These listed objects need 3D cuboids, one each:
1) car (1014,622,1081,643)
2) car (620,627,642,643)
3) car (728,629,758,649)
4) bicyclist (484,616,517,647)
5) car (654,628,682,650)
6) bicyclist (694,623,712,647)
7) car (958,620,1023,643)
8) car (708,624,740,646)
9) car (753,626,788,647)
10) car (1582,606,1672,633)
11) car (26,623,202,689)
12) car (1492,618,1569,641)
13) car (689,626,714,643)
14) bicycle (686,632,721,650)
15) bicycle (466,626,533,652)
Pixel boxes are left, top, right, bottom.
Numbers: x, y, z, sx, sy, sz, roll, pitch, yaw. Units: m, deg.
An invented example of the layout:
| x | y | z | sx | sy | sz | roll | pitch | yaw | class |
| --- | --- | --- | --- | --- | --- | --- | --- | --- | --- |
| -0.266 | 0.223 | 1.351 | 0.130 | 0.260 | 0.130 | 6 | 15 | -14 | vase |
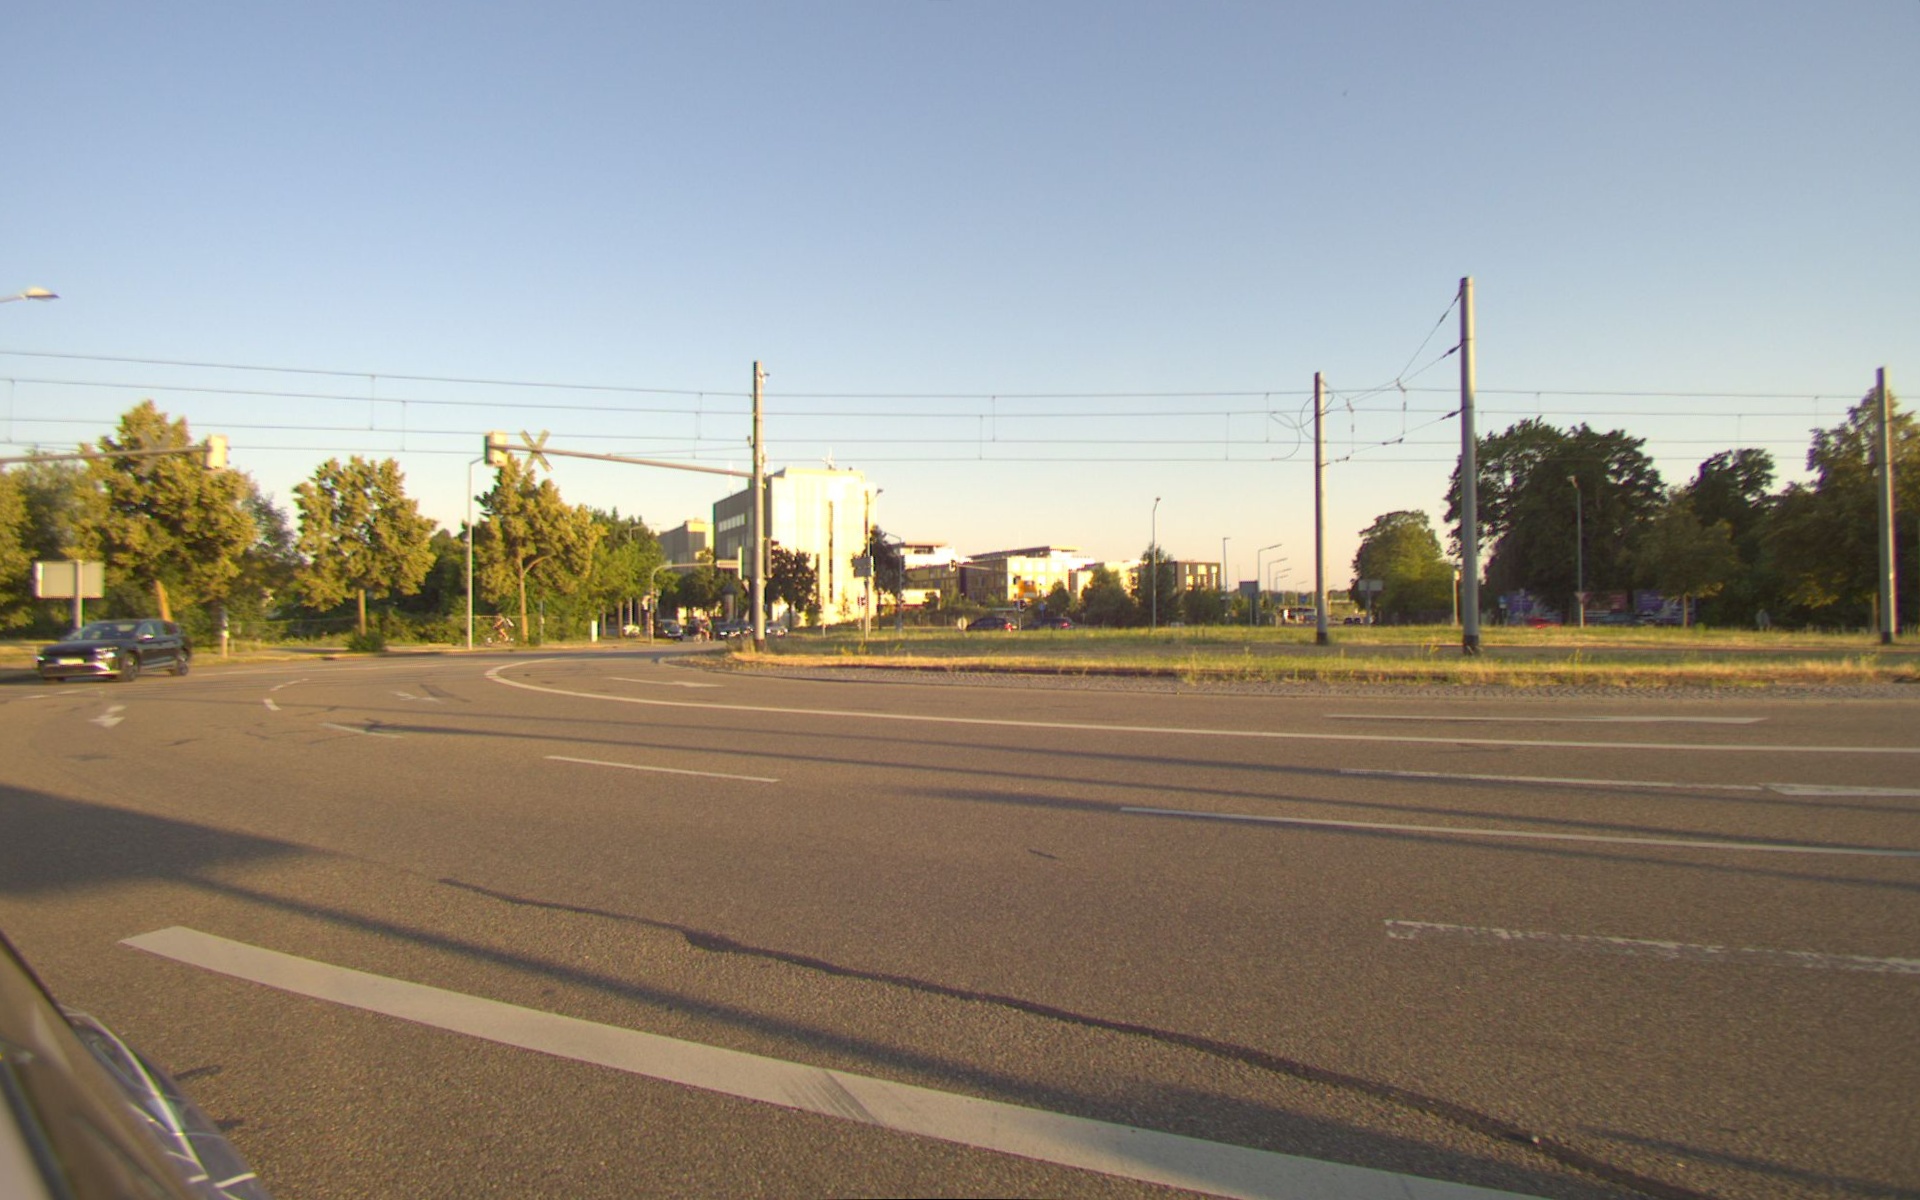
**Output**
| x | y | z | sx | sy | sz | roll | pitch | yaw | class |
| --- | --- | --- | --- | --- | --- | --- | --- | --- | --- |
| 6.261 | 2.365 | 72.506 | 4.391 | 1.443 | 1.922 | -2 | -2 | 34 | car |
| -34.869 | 3.677 | 107.178 | 1.841 | 1.637 | 4.206 | 0 | -1 | -22 | car |
| -19.003 | 3.367 | 88.530 | 1.841 | 1.637 | 4.206 | 0 | -1 | -22 | car |
| -27.120 | 1.852 | 59.746 | 1.123 | 1.762 | 1.398 | -2 | -2 | 40 | bicyclist |
| -24.849 | 3.299 | 86.009 | 1.841 | 1.763 | 3.864 | 0 | -1 | -22 | car |
| -17.951 | 2.450 | 70.634 | 0.985 | 1.645 | 0.812 | 0 | -2 | -41 | bicyclist |
| 2.082 | 2.208 | 70.374 | 4.245 | 1.512 | 1.820 | -2 | -2 | 35 | car |
| -18.902 | 2.766 | 80.977 | 1.841 | 1.637 | 4.206 | 0 | -1 | -22 | car |
| -14.986 | 2.858 | 79.939 | 1.841 | 1.637 | 4.206 | 0 | -1 | -22 | car |
| 38.503 | 1.153 | 58.571 | 1.914 | 1.443 | 4.328 | 0 | -2 | -8 | car |
| -22.306 | 1.441 | 26.918 | 1.798 | 1.570 | 4.224 | 0 | -2 | -12 | car |
| 37.265 | 1.943 | 66.242 | 1.914 | 1.443 | 4.602 | 0 | -2 | -7 | car |
| -26.219 | 3.469 | 102.461 | 1.841 | 1.637 | 4.206 | 0 | -1 | -23 | car |
| -17.910 | 2.875 | 70.672 | 2.292 | 1.188 | 0.812 | 0 | -2 | -41 | bicycle |
| -27.158 | 2.293 | 59.730 | 1.123 | 1.406 | 3.492 | -2 | -1 | 40 | bicycle |
